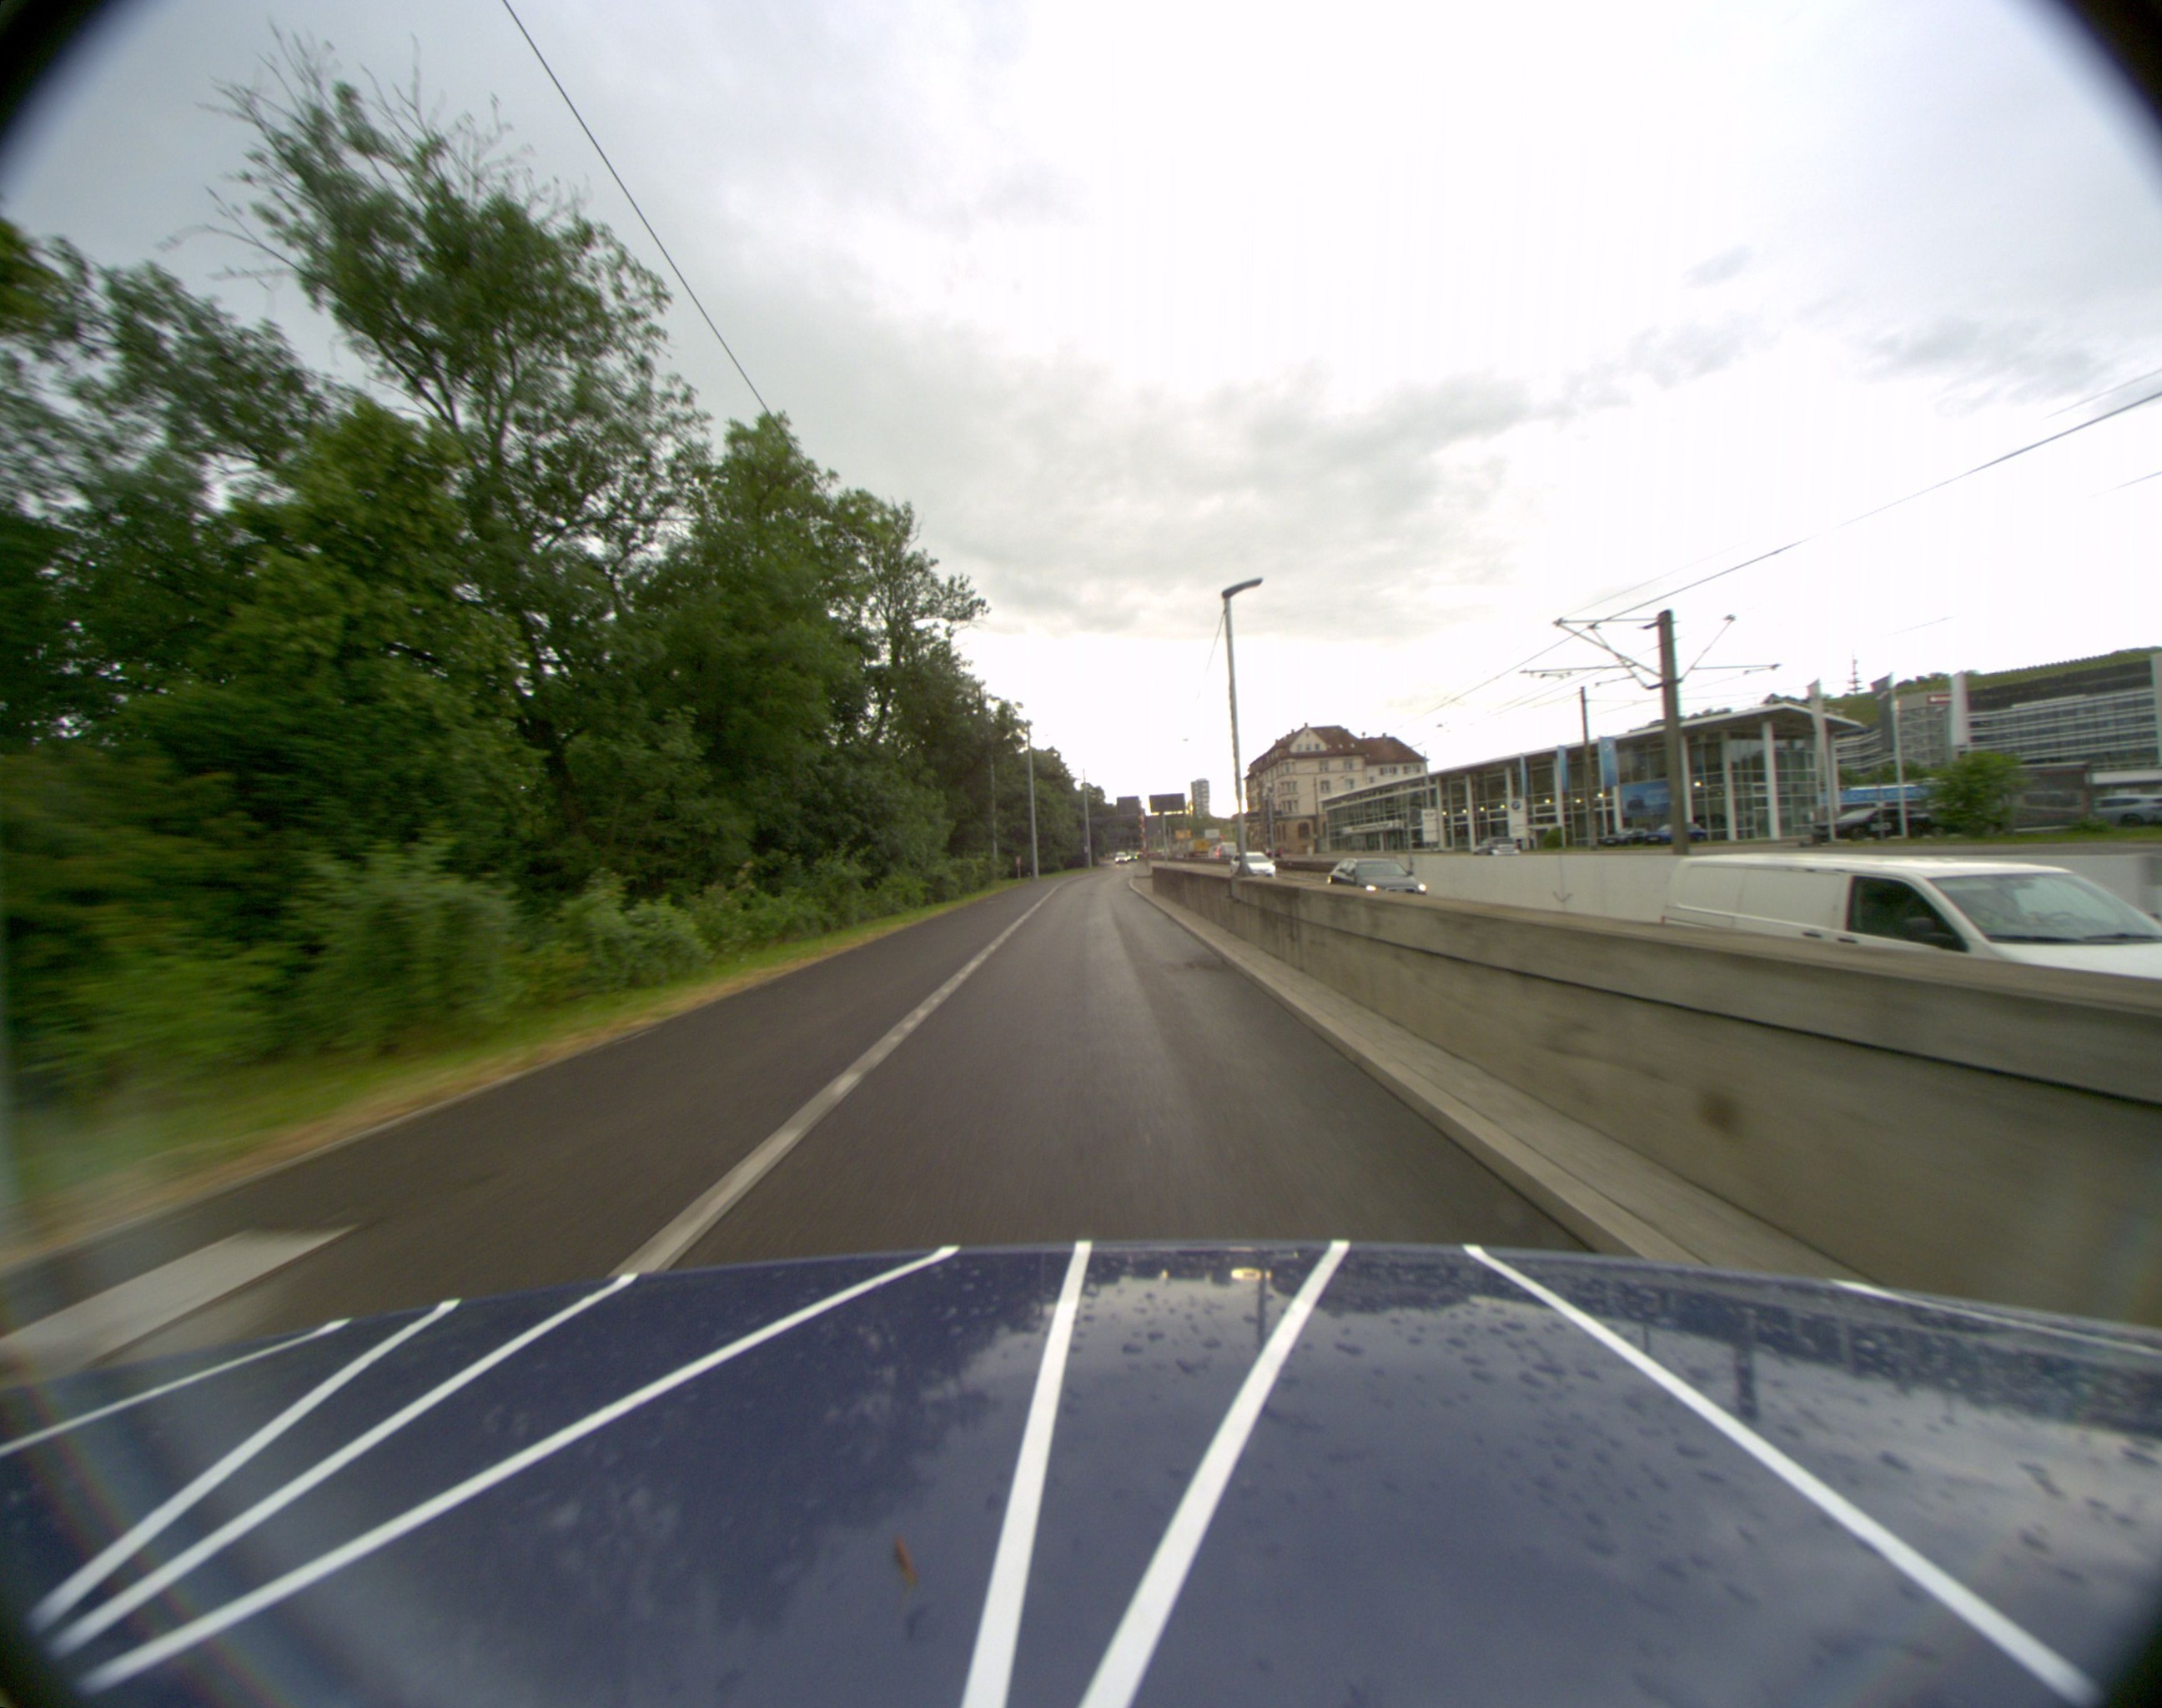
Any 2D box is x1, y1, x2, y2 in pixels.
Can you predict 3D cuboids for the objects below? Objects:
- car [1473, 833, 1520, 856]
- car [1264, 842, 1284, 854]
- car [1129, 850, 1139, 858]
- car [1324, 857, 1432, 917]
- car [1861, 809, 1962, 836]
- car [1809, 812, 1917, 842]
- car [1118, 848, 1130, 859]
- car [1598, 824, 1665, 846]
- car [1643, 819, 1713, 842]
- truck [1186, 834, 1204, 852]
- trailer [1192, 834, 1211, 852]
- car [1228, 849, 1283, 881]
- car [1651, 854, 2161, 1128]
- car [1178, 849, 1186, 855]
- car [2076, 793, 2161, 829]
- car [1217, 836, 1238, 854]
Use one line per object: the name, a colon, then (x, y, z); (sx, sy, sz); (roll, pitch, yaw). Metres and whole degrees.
car: (26.307, -0.586, 48.183); (1.385, 1.292, 2.801); (-4, 0, 0)
car: (27.038, -0.839, 106.416); (1.746, 1.507, 4.340); (-3, 0, 1)
car: (10.069, -0.027, 144.058); (1.710, 1.521, 4.000); (-3, 0, 1)
car: (8.767, 0.914, 22.796); (1.708, 1.564, 3.896); (-2, 0, 1)
car: (44.413, -1.643, 40.747); (1.590, 1.236, 3.429); (-3, 1, -2)
car: (39.395, -1.346, 38.352); (3.523, 1.267, 1.717); (-3, 1, 5)
car: (6.718, -0.024, 119.702); (1.710, 1.585, 4.000); (-3, 0, 1)
car: (38.298, -1.305, 52.877); (4.003, 1.227, 1.701); (-4, -2, -20)
car: (39.418, -1.547, 50.152); (4.003, 1.228, 1.758); (-3, 1, -20)
truck: (27.747, -2.645, 184.901); (2.689, 4.028, 10.142); (-2, 0, 0)
trailer: (27.702, -2.436, 175.285); (2.690, 4.028, 9.082); (-2, 0, 0)
car: (9.362, 0.566, 41.038); (1.982, 1.564, 4.319); (-2, 0, 1)
car: (8.746, 1.028, 8.032); (1.914, 1.947, 4.718); (-3, 0, 2)
car: (32.155, -0.632, 242.119); (1.998, 1.863, 5.193); (-3, 0, 0)
car: (51.900, -2.125, 37.677); (1.385, 1.564, 2.801); (-4, 0, -1)
car: (23.563, -1.428, 122.164); (2.056, 2.583, 6.164); (-3, 0, 0)
